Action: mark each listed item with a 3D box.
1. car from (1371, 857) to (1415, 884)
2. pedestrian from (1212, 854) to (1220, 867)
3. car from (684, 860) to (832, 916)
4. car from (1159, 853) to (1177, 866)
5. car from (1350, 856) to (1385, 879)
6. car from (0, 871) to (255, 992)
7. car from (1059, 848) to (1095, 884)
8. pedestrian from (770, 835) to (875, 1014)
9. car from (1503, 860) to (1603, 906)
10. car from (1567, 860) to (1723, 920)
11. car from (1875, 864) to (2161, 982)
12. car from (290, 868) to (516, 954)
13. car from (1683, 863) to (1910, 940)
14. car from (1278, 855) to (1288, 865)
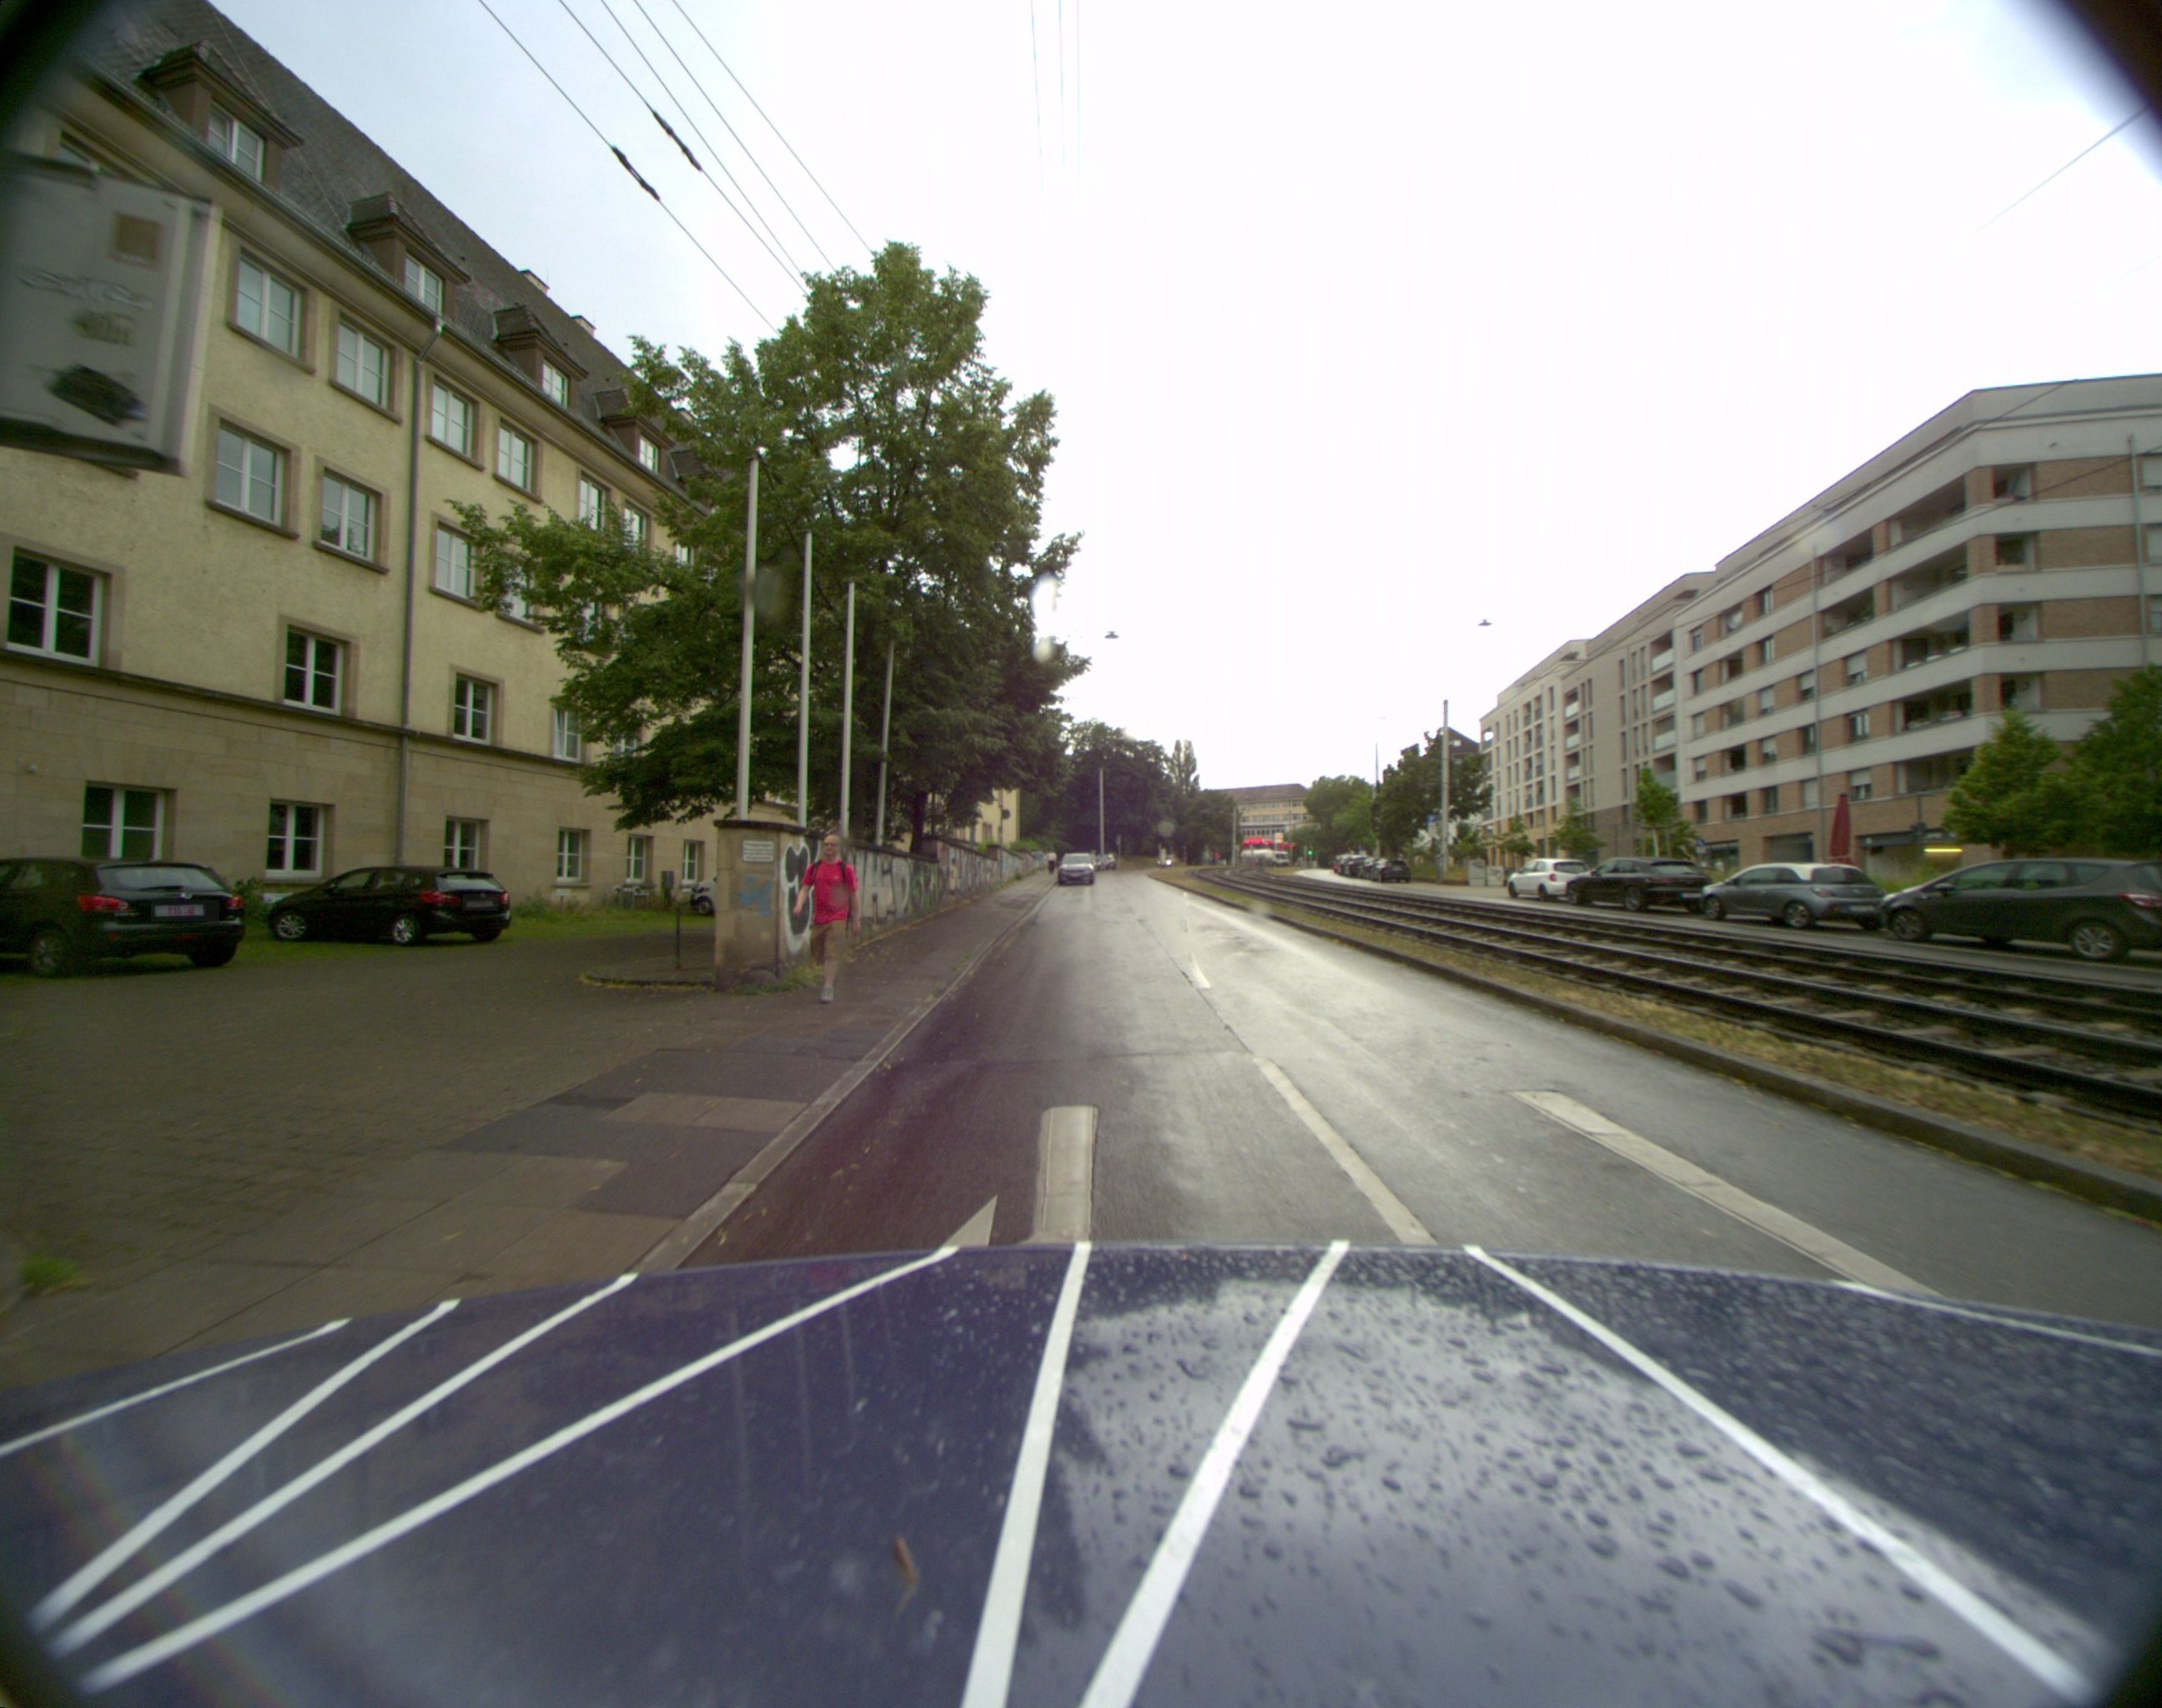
[{"bbox_3d":[19.140,0.984,46.755,1.653,1.455,3.672,-2,1,9],"label":"car"},{"bbox_3d":[19.613,0.935,110.493,0.816,1.754,0.751,3,1,36],"label":"pedestrian"},{"bbox_3d":[-11.475,1.181,27.111,4.526,1.769,1.824,-2,1,12],"label":"car"},{"bbox_3d":[10.134,0.594,88.615,1.594,1.455,3.669,0,1,0],"label":"car"},{"bbox_3d":[20.566,0.920,54.630,1.653,1.455,3.672,-2,1,9],"label":"car"},{"bbox_3d":[-14.244,1.056,11.095,3.907,1.461,1.615,-2,1,22],"label":"car"},{"bbox_3d":[-0.202,0.573,39.246,1.726,1.676,3.866,-2,1,0],"label":"car"},{"bbox_3d":[-2.681,0.706,7.971,0.748,1.754,0.818,3,0,0],"label":"pedestrian"},{"bbox_3d":[17.103,1.004,27.742,1.649,1.496,3.782,-1,1,6],"label":"car"},{"bbox_3d":[16.620,0.997,22.691,1.683,1.496,4.406,-1,1,5],"label":"car"},{"bbox_3d":[16.194,1.002,12.736,1.684,1.554,3.928,-1,1,0],"label":"car"},{"bbox_3d":[-13.793,1.129,15.482,3.913,1.499,1.825,-2,1,22],"label":"car"},{"bbox_3d":[16.600,1.020,17.940,1.684,1.496,3.928,-1,1,0],"label":"car"},{"bbox_3d":[35.936,1.020,134.953,1.666,1.597,3.812,-2,1,16],"label":"car"}]
